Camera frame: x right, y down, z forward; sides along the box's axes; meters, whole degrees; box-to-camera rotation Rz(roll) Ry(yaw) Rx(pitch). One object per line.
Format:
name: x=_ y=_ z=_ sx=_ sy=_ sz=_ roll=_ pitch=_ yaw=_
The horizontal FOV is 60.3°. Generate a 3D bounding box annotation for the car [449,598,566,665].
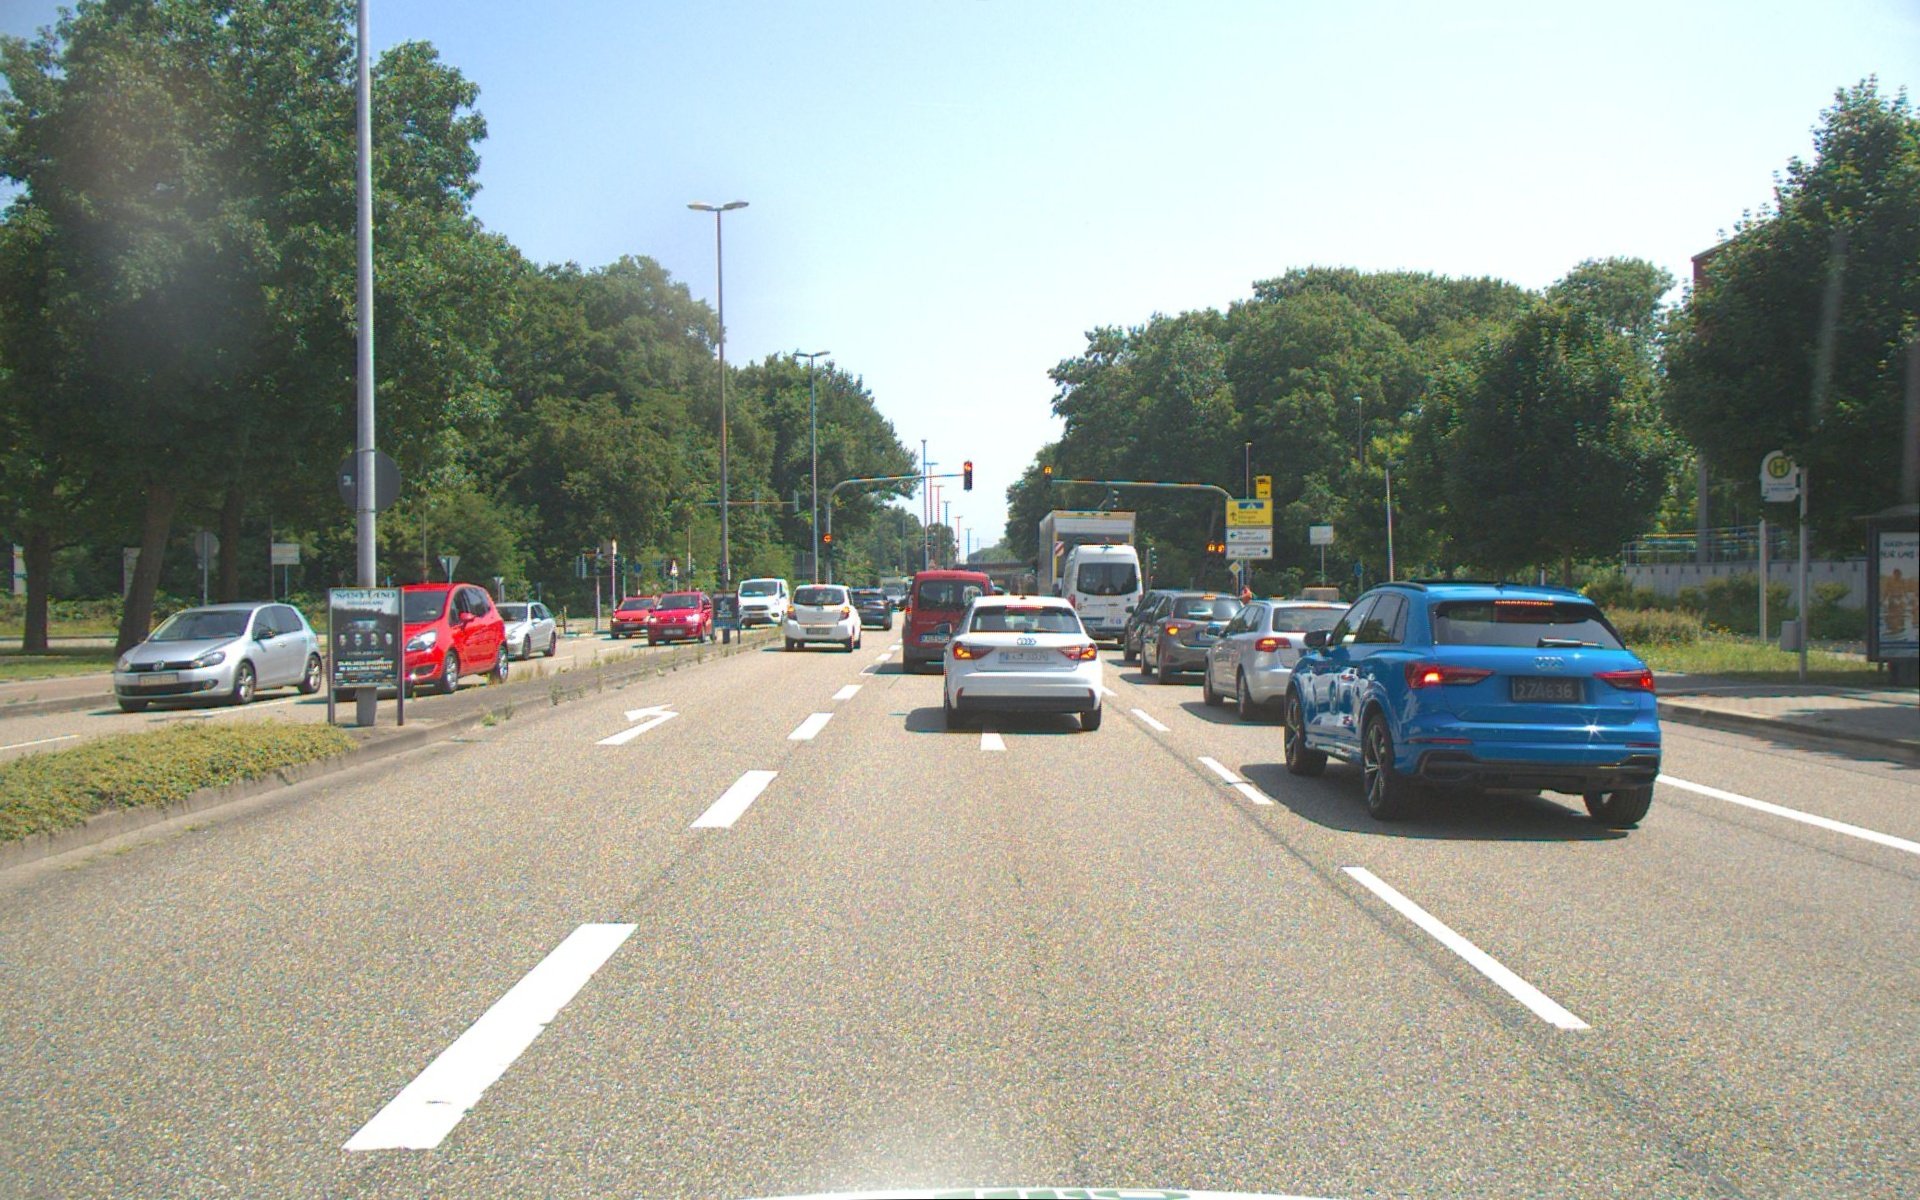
car: x=-11.253 y=0.742 z=41.415 sx=1.741 sy=1.428 sz=4.359 roll=-3 pitch=1 yaw=-1

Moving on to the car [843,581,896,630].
car: x=-3.193 y=0.180 z=59.034 sx=1.738 sy=1.670 sz=4.036 roll=0 pitch=0 yaw=-1

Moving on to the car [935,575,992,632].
car: x=0.072 y=0.088 z=50.617 sx=1.677 sy=1.660 sz=4.091 roll=0 pitch=0 yaw=-1

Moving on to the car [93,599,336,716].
car: x=-11.028 y=0.787 z=24.796 sx=1.713 sy=1.476 sz=4.133 roll=-3 pitch=1 yaw=0

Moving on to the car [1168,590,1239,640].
car: x=7.969 y=0.467 z=54.404 sx=1.677 sy=1.573 sz=4.091 roll=0 pitch=0 yaw=-1

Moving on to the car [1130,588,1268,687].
car: x=4.064 y=0.598 z=28.716 sx=1.677 sy=1.504 sz=4.091 roll=3 pitch=0 yaw=-1

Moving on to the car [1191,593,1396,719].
car: x=4.090 y=0.634 z=20.906 sx=1.677 sy=1.386 sz=4.091 roll=1 pitch=0 yaw=-1

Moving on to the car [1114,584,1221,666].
car: x=4.331 y=0.486 z=35.110 sx=1.677 sy=1.621 sz=4.091 roll=0 pitch=0 yaw=-1

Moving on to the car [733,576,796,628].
car: x=-8.003 y=0.062 z=68.078 sx=1.953 sy=1.979 sz=4.907 roll=-3 pitch=1 yaw=-1

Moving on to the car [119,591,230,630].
car: x=-36.652 y=0.503 z=77.289 sx=4.292 sy=1.711 sz=1.806 roll=1 pitch=-1 yaw=-11

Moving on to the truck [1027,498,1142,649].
truck: x=3.999 y=-0.844 z=55.714 sx=3.025 sy=4.511 sz=11.580 roll=1 pitch=0 yaw=0

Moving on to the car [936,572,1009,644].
car: x=0.272 y=0.175 z=40.665 sx=1.677 sy=1.660 sz=4.091 roll=0 pitch=0 yaw=-1

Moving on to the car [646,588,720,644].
car: x=-8.010 y=0.431 z=48.088 sx=1.548 sy=1.466 sz=3.608 roll=-3 pitch=1 yaw=-1

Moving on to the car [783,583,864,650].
car: x=-3.229 y=0.357 z=39.790 sx=1.677 sy=1.519 sz=4.091 roll=0 pitch=0 yaw=-1

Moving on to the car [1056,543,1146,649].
car: x=3.727 y=-0.113 z=44.523 sx=1.989 sy=2.690 sz=4.845 roll=0 pitch=0 yaw=0

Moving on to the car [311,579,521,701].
car: x=-8.042 y=0.530 z=24.842 sx=1.713 sy=1.597 sz=4.153 roll=-3 pitch=1 yaw=0

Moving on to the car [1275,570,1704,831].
car: x=3.717 y=0.606 z=12.494 sx=1.800 sy=1.623 sz=4.400 roll=0 pitch=1 yaw=-1

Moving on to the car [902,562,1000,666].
car: x=-0.198 y=0.229 z=30.578 sx=1.677 sy=1.779 sz=4.091 roll=0 pitch=0 yaw=-1

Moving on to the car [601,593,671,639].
car: x=-11.700 y=0.549 z=59.890 sx=1.671 sy=1.478 sz=3.891 roll=-3 pitch=1 yaw=0

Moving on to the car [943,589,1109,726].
car: x=0.661 y=0.587 z=19.190 sx=1.677 sy=1.410 sz=4.091 roll=0 pitch=0 yaw=-1

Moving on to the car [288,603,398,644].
car: x=-27.698 y=1.052 z=74.376 sx=4.288 sy=1.711 sz=1.807 roll=1 pitch=0 yaw=-8
